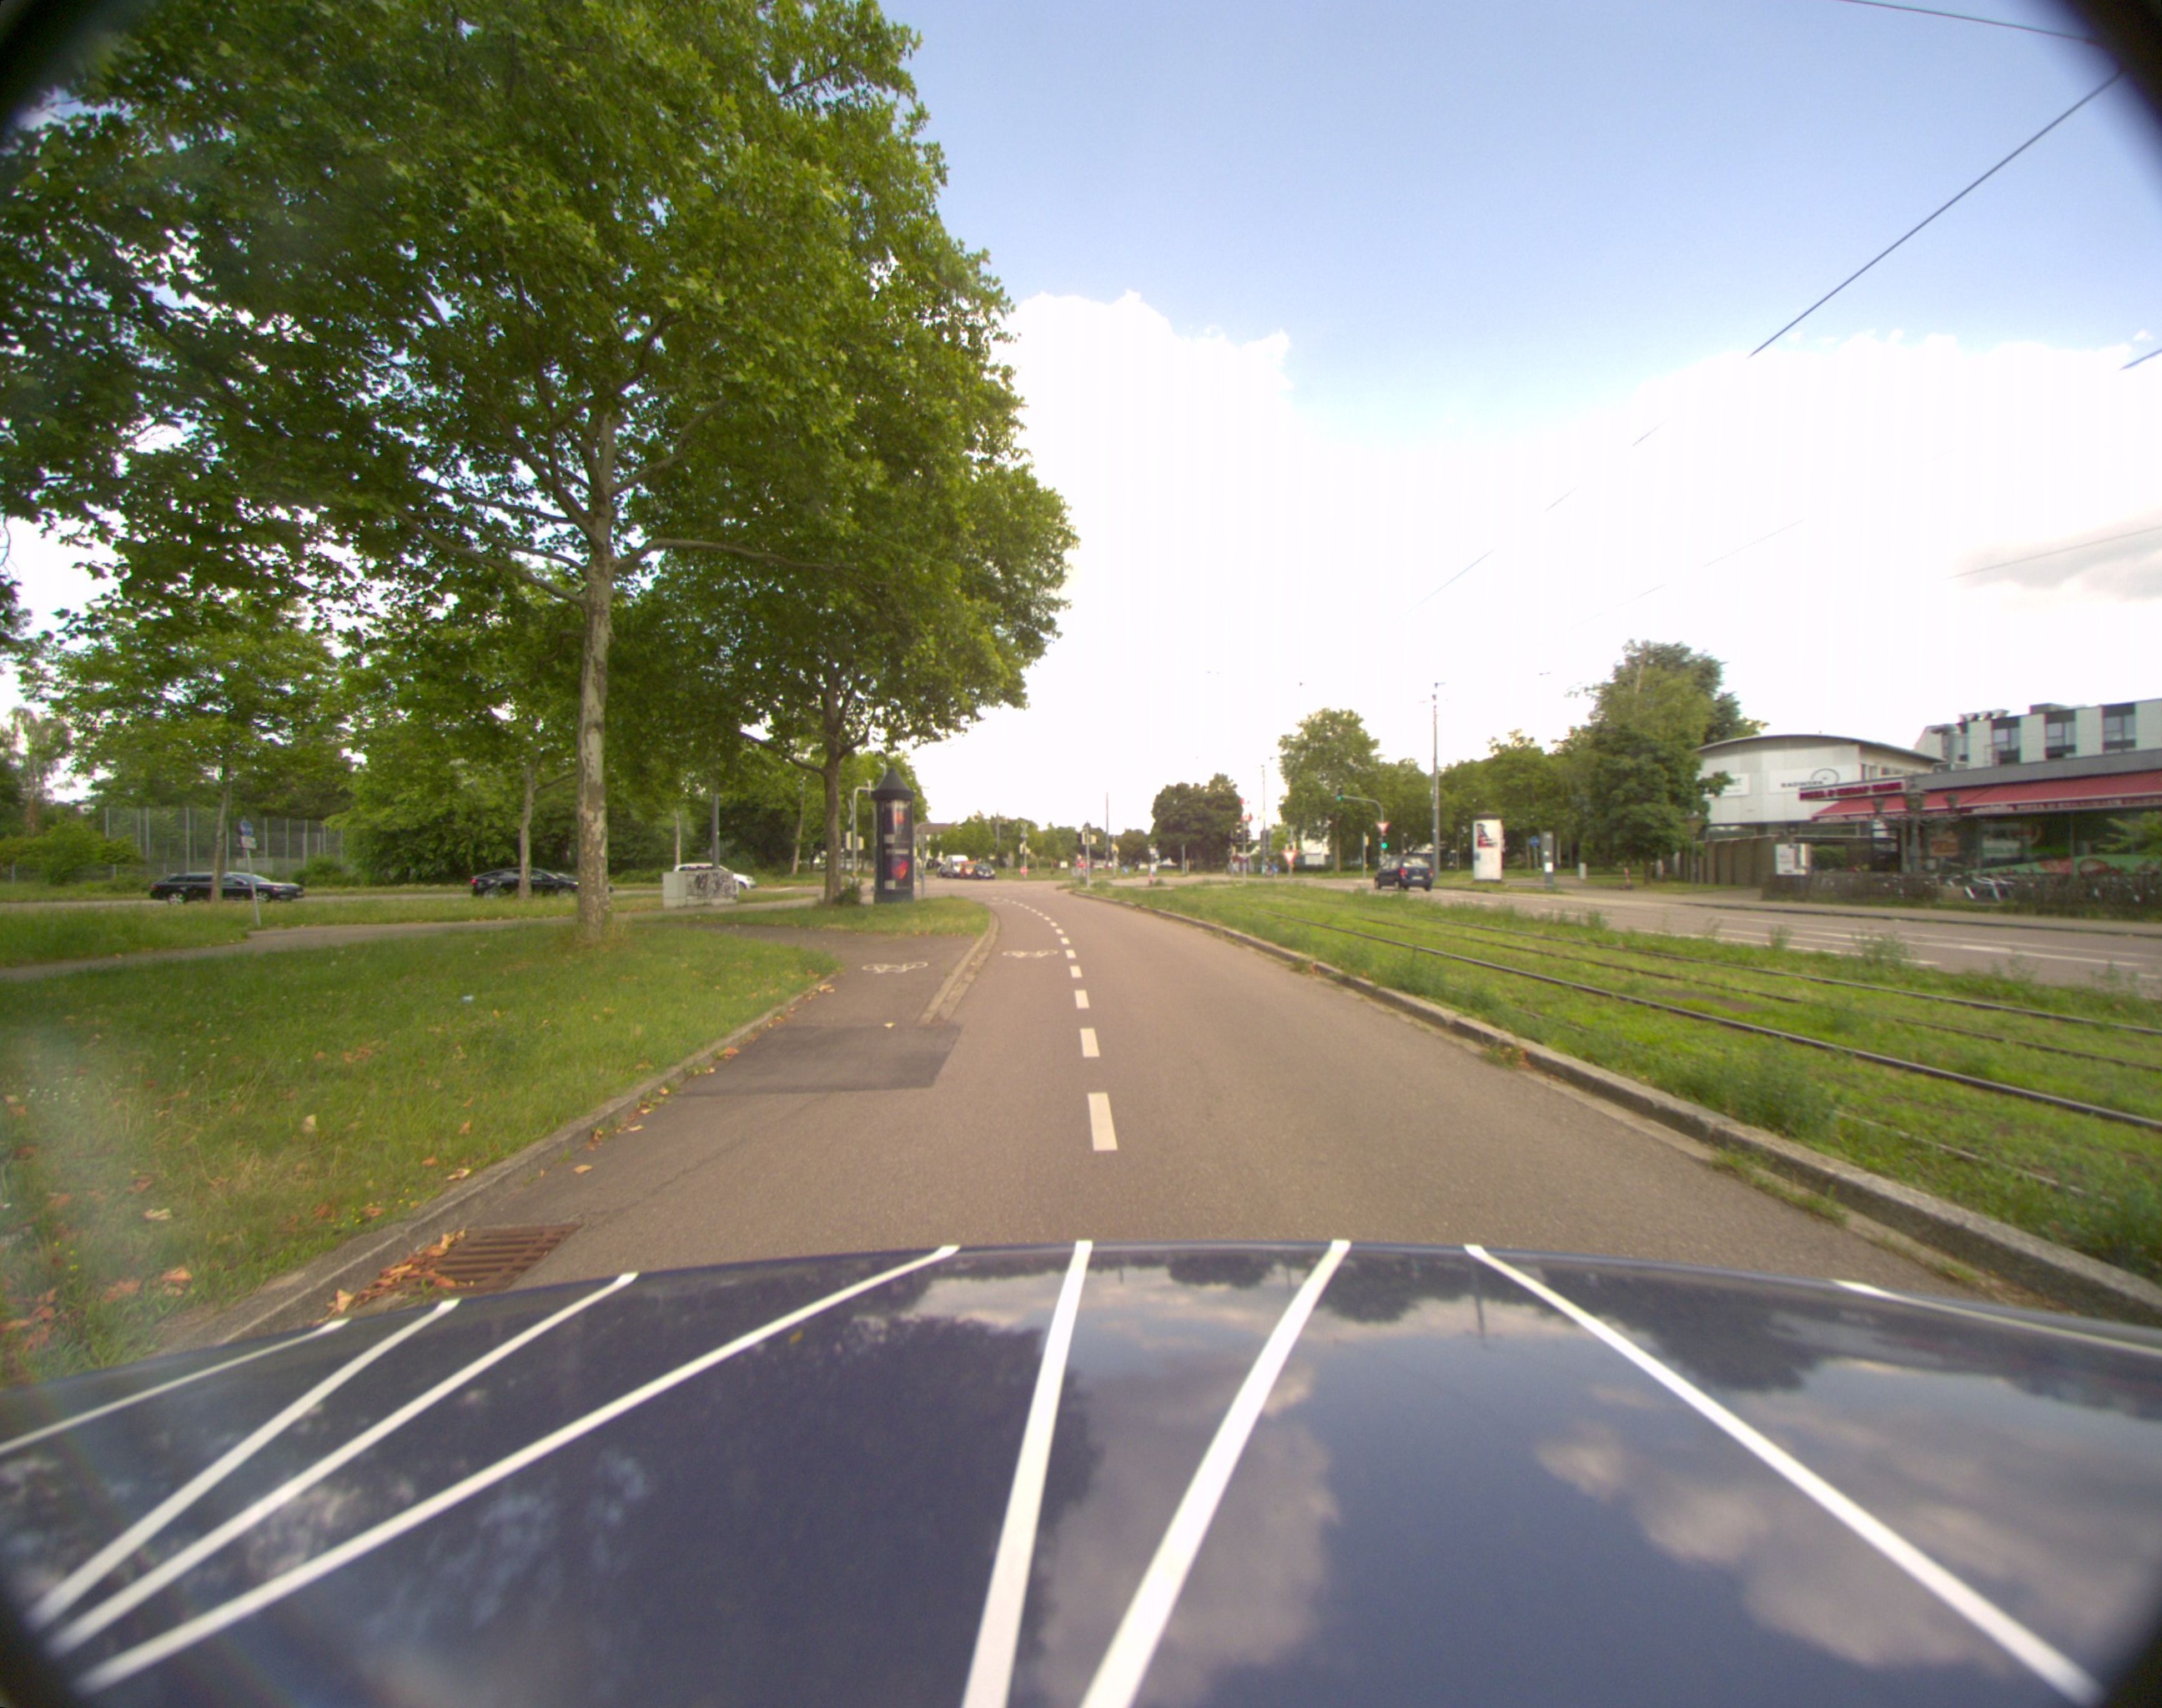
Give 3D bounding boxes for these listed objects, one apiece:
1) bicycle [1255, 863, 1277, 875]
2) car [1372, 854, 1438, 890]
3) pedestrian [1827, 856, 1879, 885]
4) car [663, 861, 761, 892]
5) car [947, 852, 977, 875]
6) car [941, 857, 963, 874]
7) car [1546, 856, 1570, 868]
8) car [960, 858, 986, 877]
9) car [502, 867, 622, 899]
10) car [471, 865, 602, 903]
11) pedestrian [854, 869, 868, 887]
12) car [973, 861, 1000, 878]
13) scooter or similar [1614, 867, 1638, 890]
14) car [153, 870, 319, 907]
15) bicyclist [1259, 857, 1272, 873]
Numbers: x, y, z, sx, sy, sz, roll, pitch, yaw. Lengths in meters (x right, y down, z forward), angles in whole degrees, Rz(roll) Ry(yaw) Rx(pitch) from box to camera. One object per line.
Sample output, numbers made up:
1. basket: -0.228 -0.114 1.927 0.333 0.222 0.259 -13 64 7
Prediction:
1. bicycle: 17.181 1.408 70.641 0.806 1.053 2.065 -1 -2 -31
2. car: 15.471 0.827 36.507 1.783 1.617 3.496 0 0 2
3. pedestrian: 30.741 0.650 30.270 1.156 1.139 0.932 0 0 1
4. car: -20.301 1.215 42.002 4.692 1.601 1.996 0 1 -21
5. car: -13.617 1.122 86.665 2.242 2.492 5.716 -1 0 -21
6. car: -15.602 1.400 92.035 1.798 1.924 4.361 -1 0 -20
7. car: 63.116 1.037 100.514 3.865 1.514 1.694 0 0 -43
8. car: -11.464 1.372 80.494 1.798 1.924 4.361 -1 0 -20
9. car: -26.646 1.469 39.190 4.754 1.461 1.996 0 1 -21
10. car: -25.674 1.384 36.039 4.691 1.601 1.996 0 1 -21
11. pedestrian: -12.658 1.378 43.772 0.723 1.028 0.900 -1 0 -13
12. car: -9.366 1.507 74.776 1.798 1.530 3.994 -1 0 -19
13. scooter or similar: 25.106 1.116 35.009 0.427 1.027 1.224 -1 0 10
14. car: -38.804 1.536 35.056 4.692 1.504 1.996 0 1 -21
15. bicyclist: 17.150 1.038 70.692 0.806 1.461 0.830 -1 -2 -32
